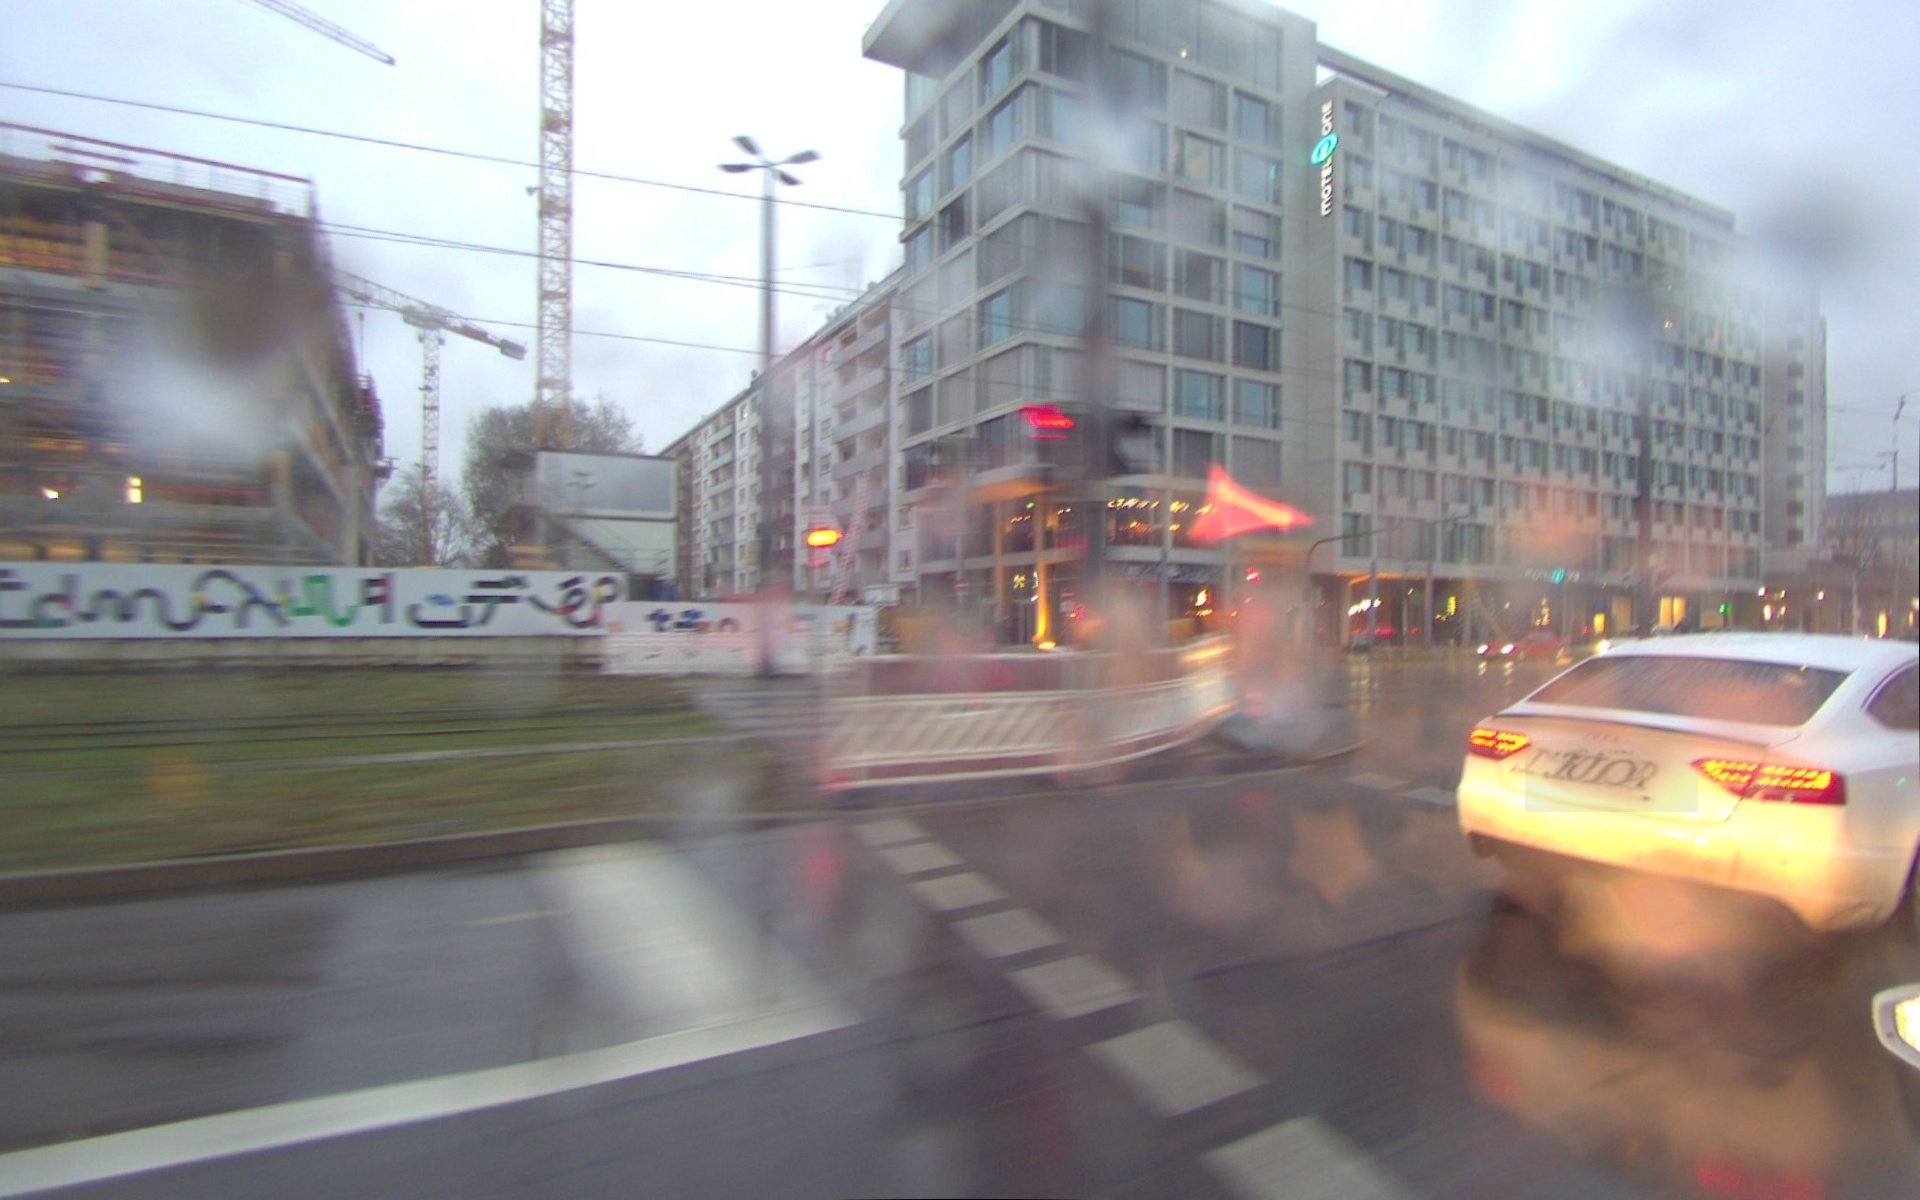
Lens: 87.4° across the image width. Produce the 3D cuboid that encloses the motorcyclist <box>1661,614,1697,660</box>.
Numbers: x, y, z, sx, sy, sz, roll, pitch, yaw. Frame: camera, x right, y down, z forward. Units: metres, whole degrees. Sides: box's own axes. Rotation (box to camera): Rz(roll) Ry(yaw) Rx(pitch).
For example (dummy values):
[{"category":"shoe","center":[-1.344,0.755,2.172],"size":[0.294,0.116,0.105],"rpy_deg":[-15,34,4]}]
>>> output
[{"category":"motorcyclist","center":[30.601,1.576,42.736],"size":[1.021,1.910,0.867],"rpy_deg":[1,1,-30]}]

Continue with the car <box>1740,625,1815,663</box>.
[{"category":"car","center":[35.999,1.892,44.184],"size":[5.060,1.481,1.974],"rpy_deg":[1,0,-44]}]

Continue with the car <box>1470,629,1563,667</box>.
[{"category":"car","center":[25.233,2.163,45.542],"size":[3.951,1.595,1.873],"rpy_deg":[1,0,-29]}]

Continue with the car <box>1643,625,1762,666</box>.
[{"category":"car","center":[29.877,1.799,40.390],"size":[5.034,1.481,1.984],"rpy_deg":[1,0,-30]}]

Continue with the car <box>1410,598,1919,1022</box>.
[{"category":"car","center":[4.517,0.780,5.443],"size":[4.204,1.489,1.750],"rpy_deg":[1,0,-32]}]

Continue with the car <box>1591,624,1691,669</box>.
[{"category":"car","center":[29.954,2.016,44.181],"size":[4.545,1.813,1.872],"rpy_deg":[1,0,-31]}]
